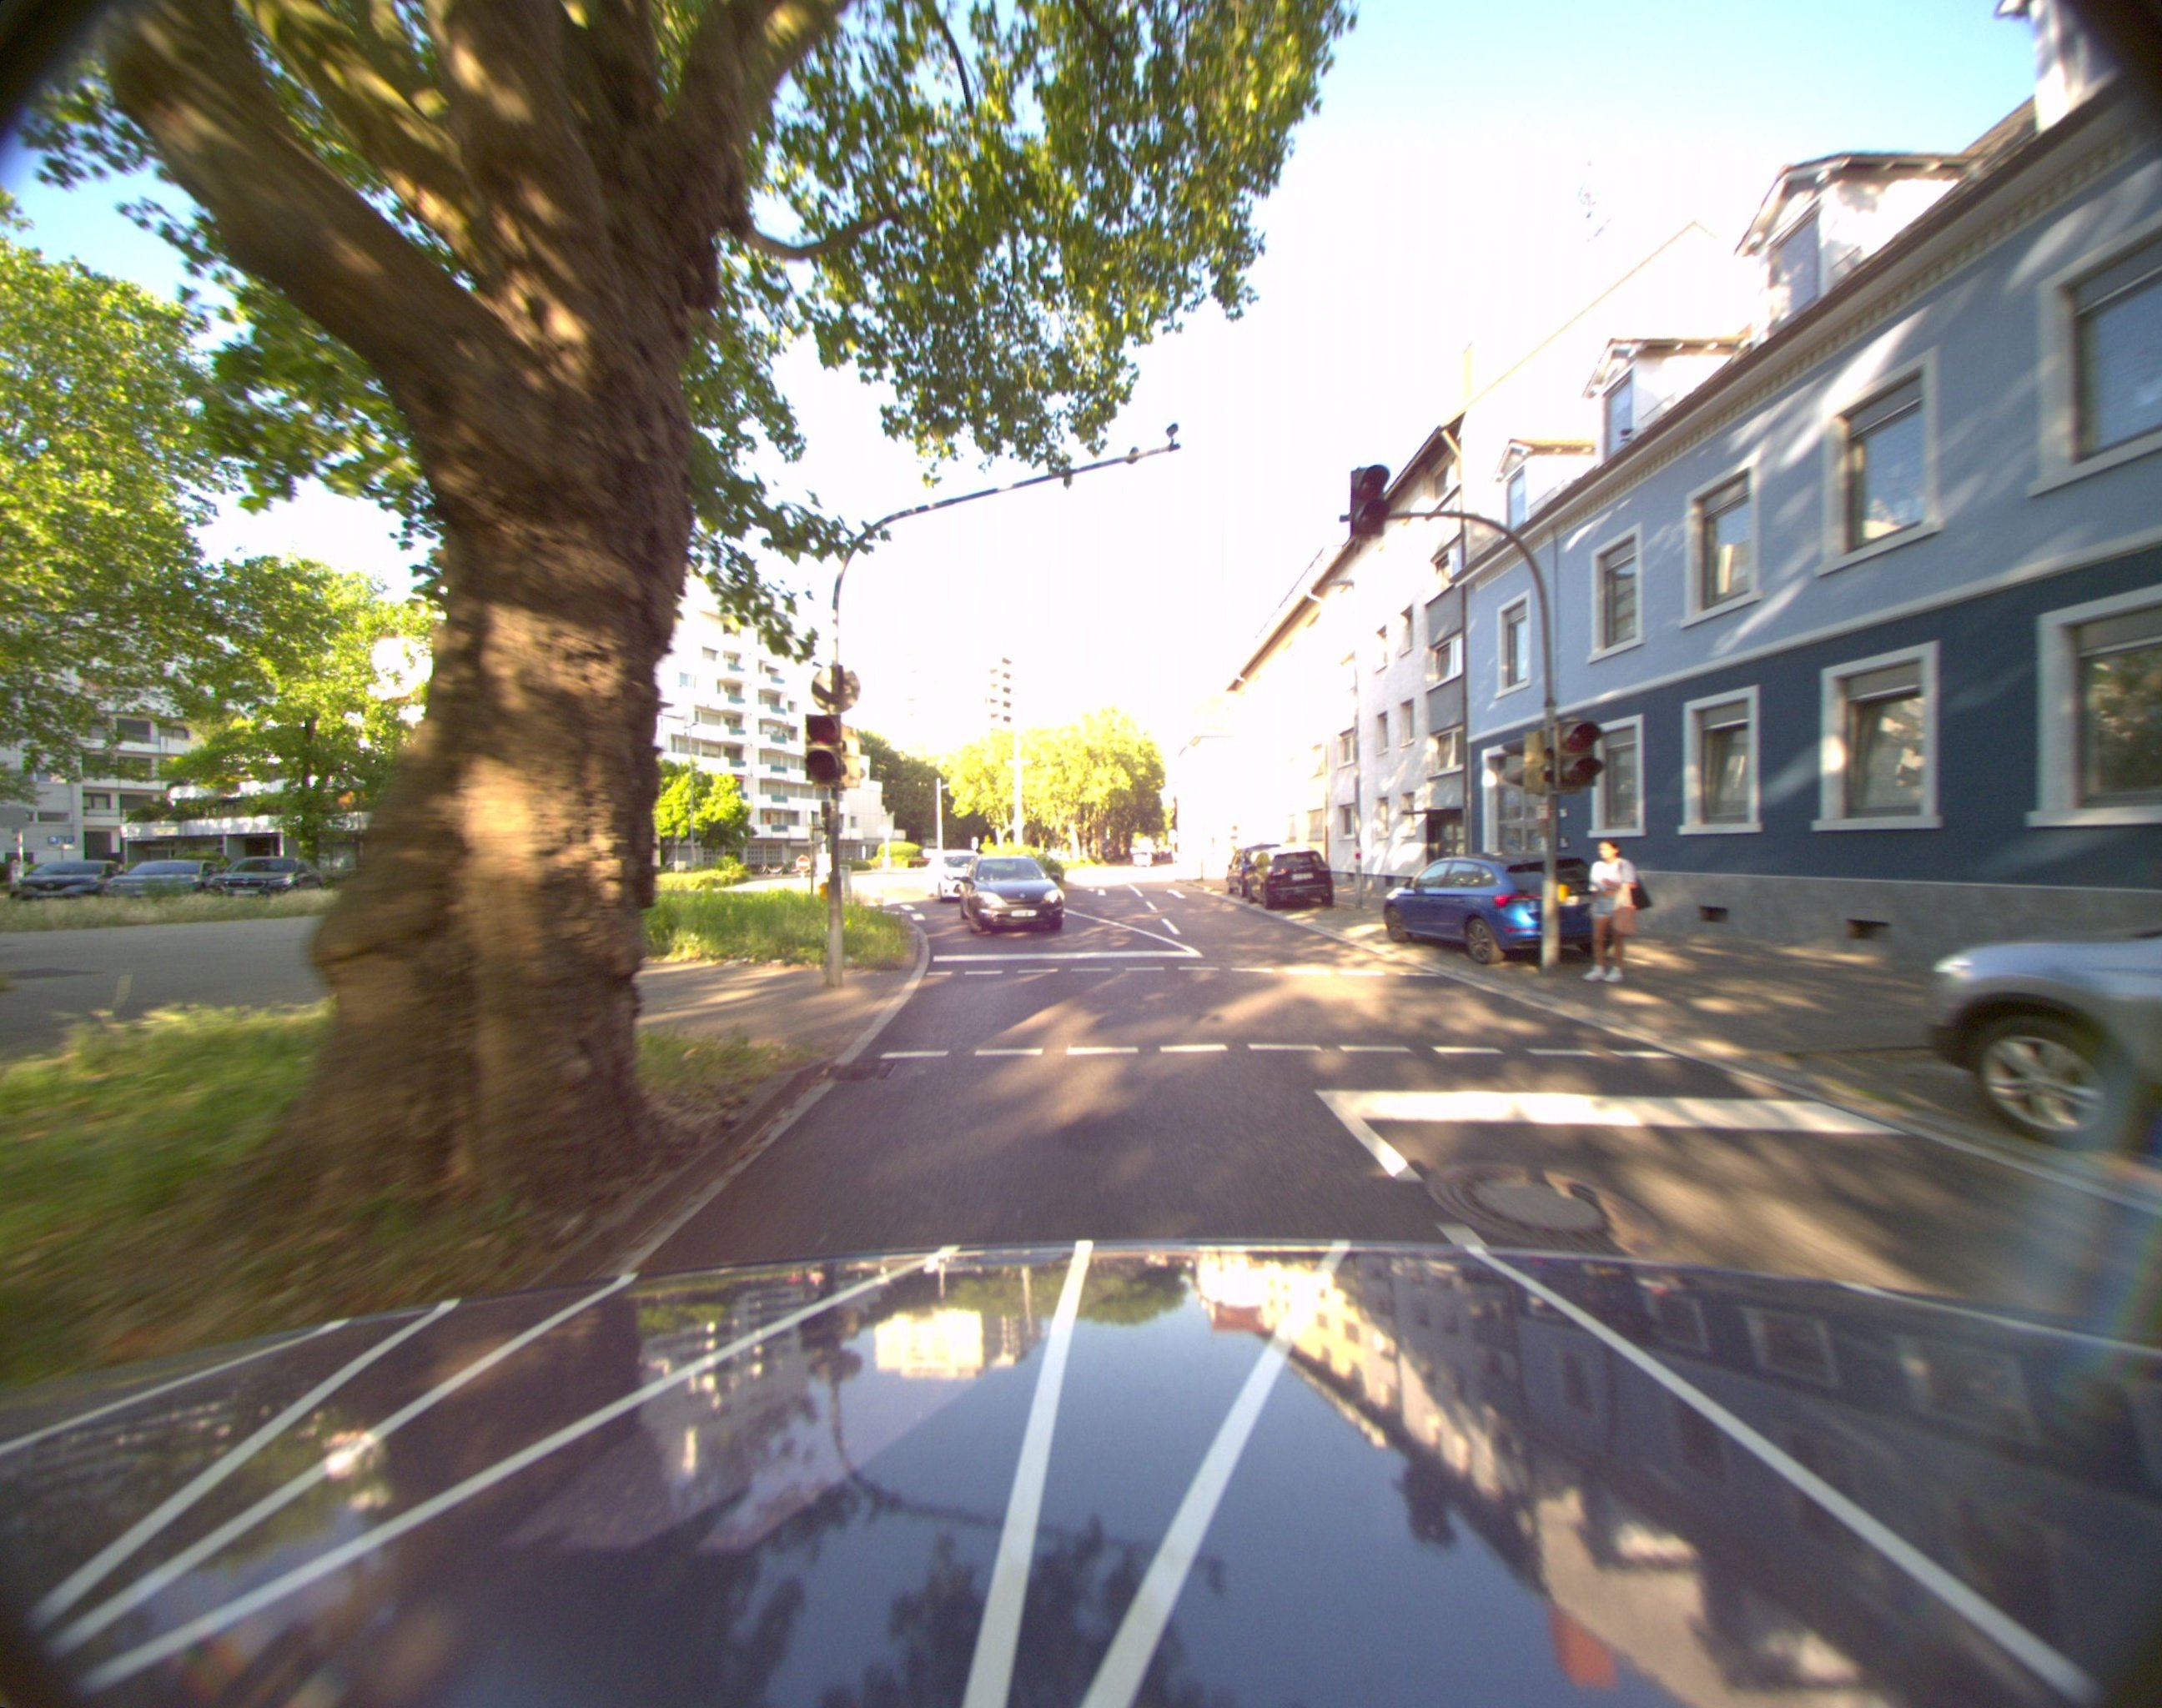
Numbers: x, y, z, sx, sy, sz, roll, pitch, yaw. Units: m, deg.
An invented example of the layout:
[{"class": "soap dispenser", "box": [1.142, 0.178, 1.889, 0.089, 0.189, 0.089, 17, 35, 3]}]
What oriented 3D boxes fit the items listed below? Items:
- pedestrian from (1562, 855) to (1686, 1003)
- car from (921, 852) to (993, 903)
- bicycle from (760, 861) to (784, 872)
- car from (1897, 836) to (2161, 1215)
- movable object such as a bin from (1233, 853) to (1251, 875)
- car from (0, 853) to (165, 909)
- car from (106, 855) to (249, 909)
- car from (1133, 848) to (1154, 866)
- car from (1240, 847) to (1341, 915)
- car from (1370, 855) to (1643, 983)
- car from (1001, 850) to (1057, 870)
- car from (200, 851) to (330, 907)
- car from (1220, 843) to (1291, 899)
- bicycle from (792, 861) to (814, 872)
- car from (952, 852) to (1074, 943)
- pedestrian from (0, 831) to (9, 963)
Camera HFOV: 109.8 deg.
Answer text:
[{"class": "pedestrian", "box": [5.957, 0.795, 8.381, 0.865, 1.561, 0.706, -1, 1, 0]}, {"class": "car", "box": [-3.795, 0.671, 23.761, 1.654, 1.445, 3.534, -1, 0, 0]}, {"class": "bicycle", "box": [-23.418, 0.948, 57.549, 0.463, 0.833, 1.704, 0, 1, 35]}, {"class": "car", "box": [5.722, 0.772, 2.424, 1.786, 1.663, 4.155, -2, 1, 1]}, {"class": "movable object such as a bin", "box": [9.785, 0.593, 46.153, 1.033, 1.278, 1.063, 0, 1, 12]}, {"class": "car", "box": [-31.851, 0.881, 24.315, 1.876, 1.628, 3.992, 1, -3, -29]}, {"class": "car", "box": [-28.841, 0.913, 24.435, 1.832, 1.577, 4.359, 2, -3, -35]}, {"class": "car", "box": [6.296, 0.251, 77.108, 1.898, 1.782, 4.000, 0, 1, 2]}, {"class": "car", "box": [5.906, 0.683, 21.971, 1.910, 1.663, 4.493, -2, 1, 4]}, {"class": "car", "box": [6.089, 0.809, 11.534, 1.654, 1.478, 4.261, -2, 1, -1]}, {"class": "car", "box": [-4.030, 0.470, 58.781, 4.206, 1.502, 1.799, -1, 1, -9]}, {"class": "car", "box": [-26.305, 0.848, 24.690, 1.942, 1.649, 4.467, 2, -3, -35]}, {"class": "car", "box": [6.197, 0.550, 27.371, 1.668, 1.808, 4.005, -2, 1, 2]}, {"class": "bicycle", "box": [-21.626, 0.958, 59.167, 1.578, 0.780, 0.463, 0, 1, -23]}, {"class": "car", "box": [-1.567, 0.777, 15.828, 1.846, 1.536, 4.518, -3, 1, -13]}, {"class": "pedestrian", "box": [-15.550, 0.612, 10.349, 0.786, 1.869, 0.801, -1, 1, -30]}]
